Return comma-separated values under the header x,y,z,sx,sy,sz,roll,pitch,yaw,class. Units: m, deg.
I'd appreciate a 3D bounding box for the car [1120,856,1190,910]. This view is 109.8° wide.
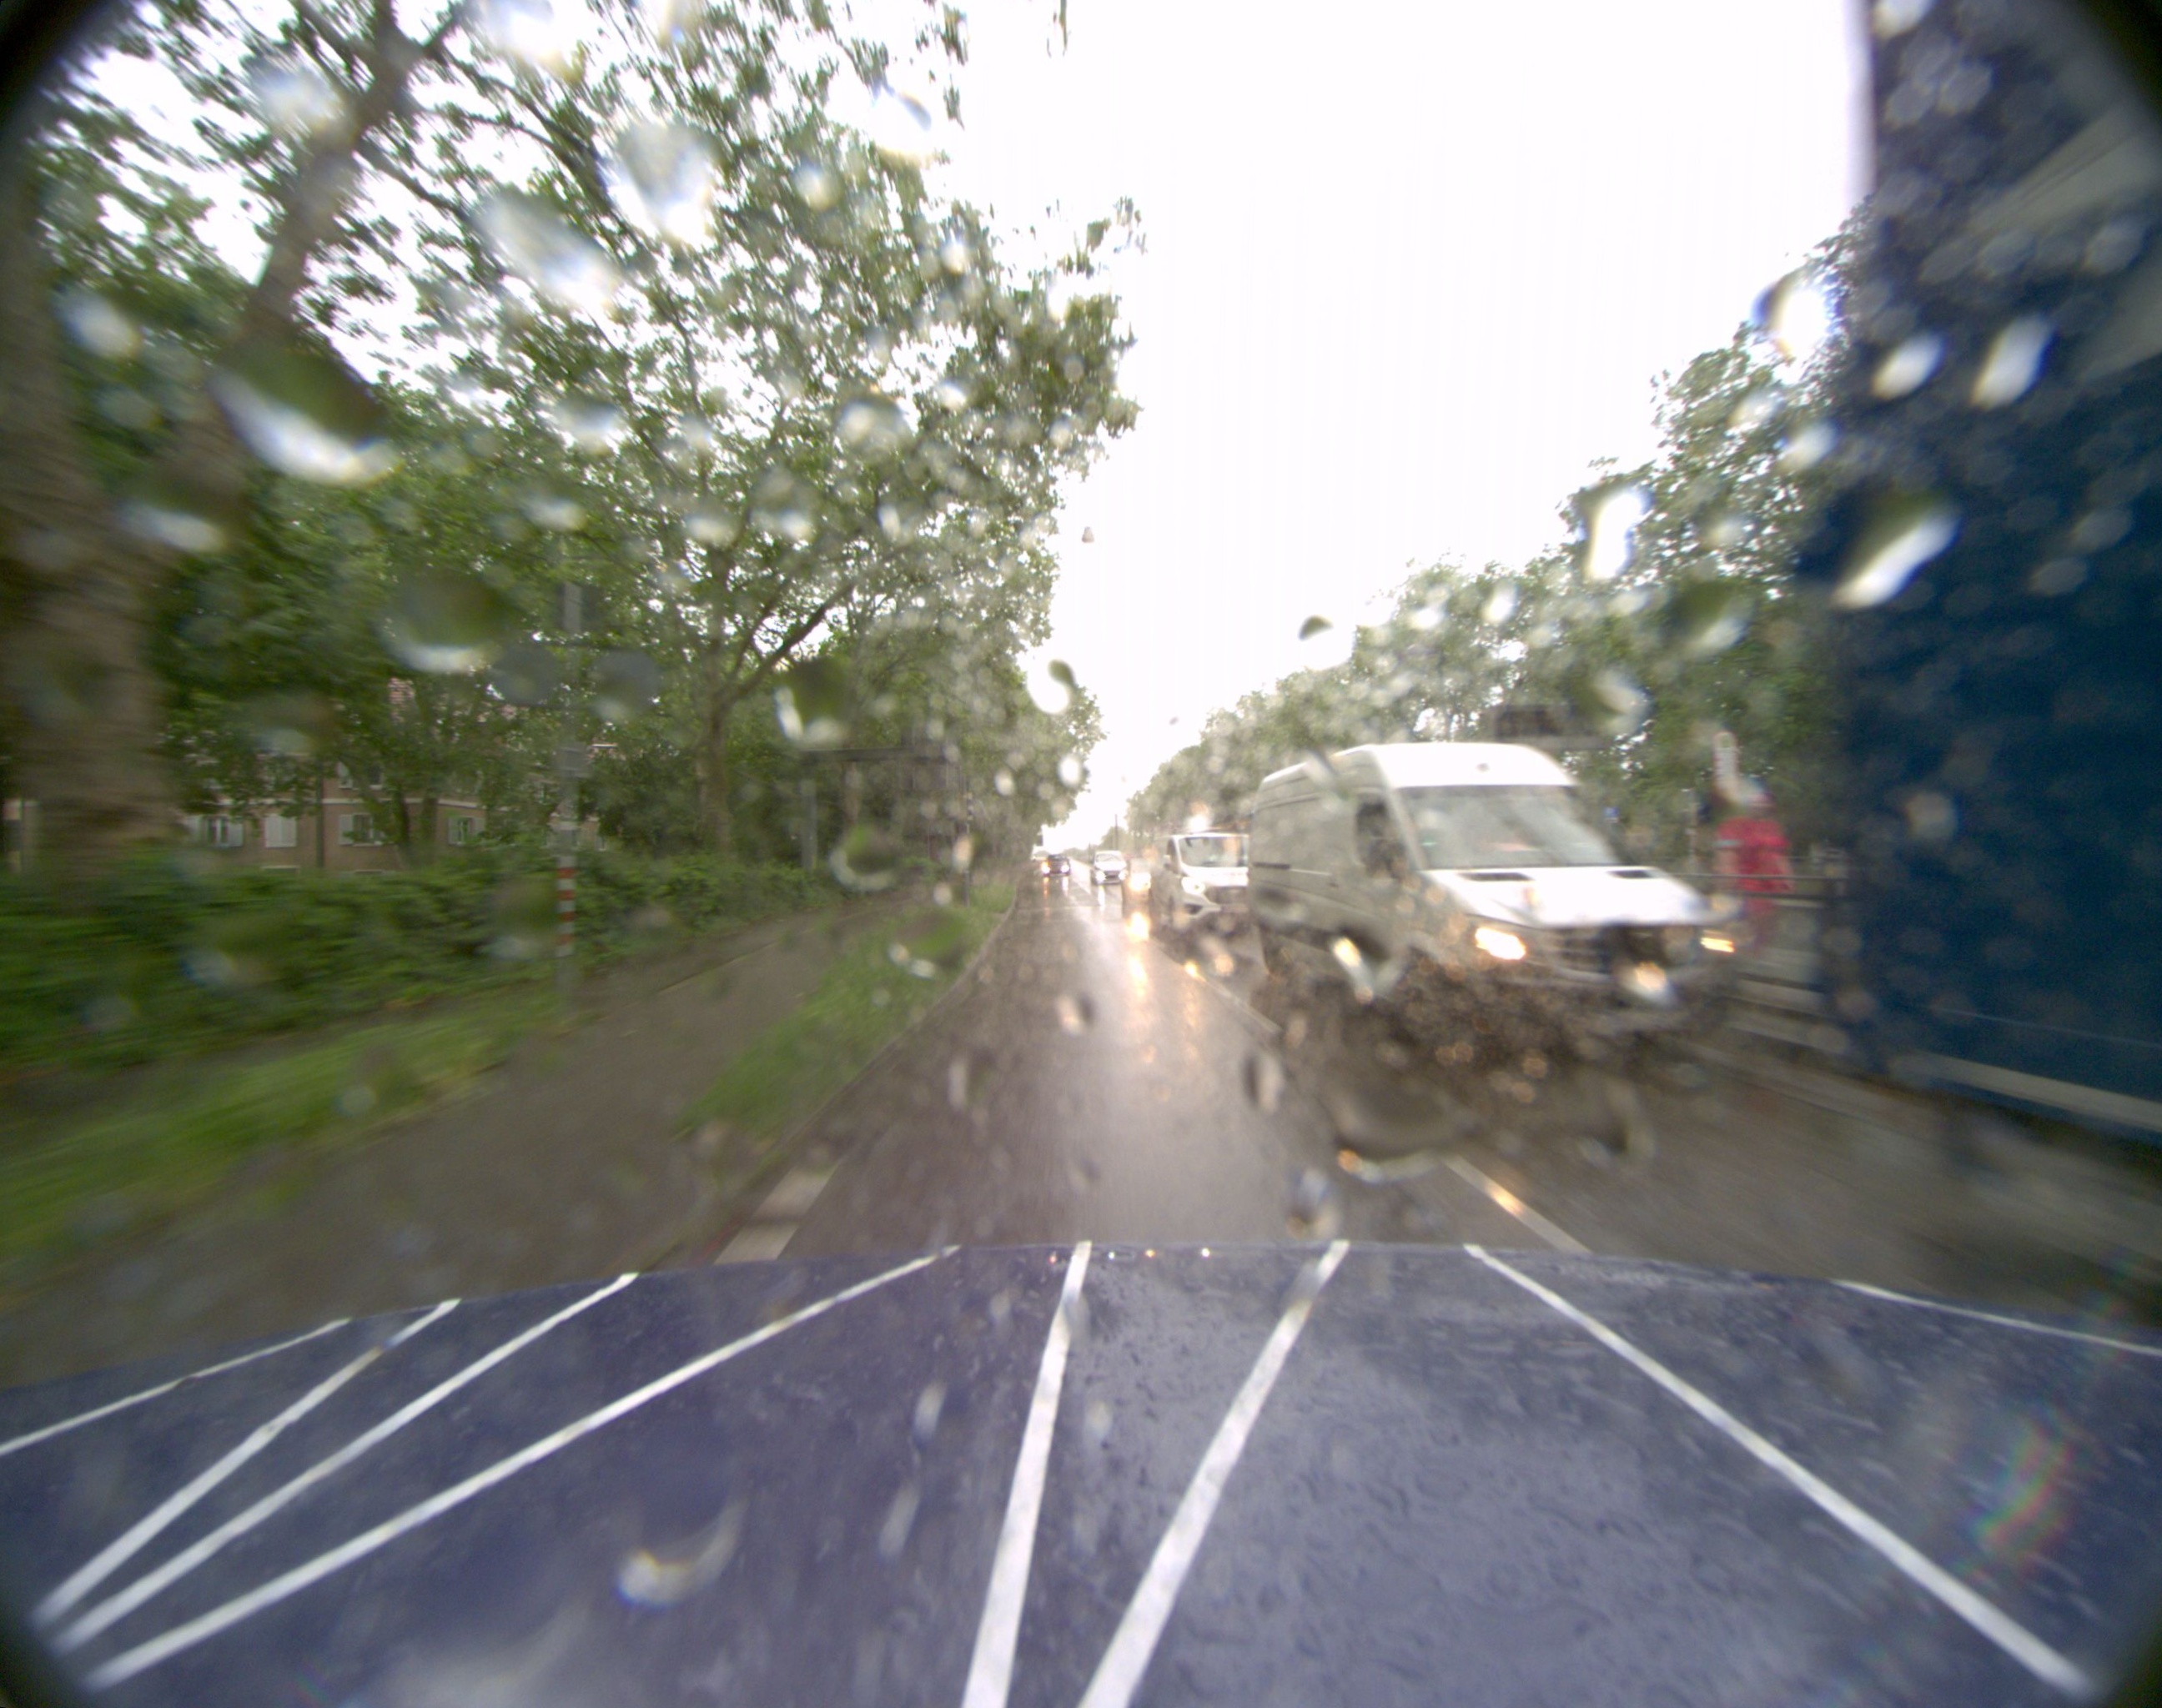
x,y,z,sx,sy,sz,roll,pitch,yaw,class
2.282,0.859,24.358,1.730,1.470,3.804,-1,1,-2,car

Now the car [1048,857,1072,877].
x,y,z,sx,sy,sz,roll,pitch,yaw,class
-1.582,0.999,58.649,1.727,1.425,3.851,-1,1,-1,car

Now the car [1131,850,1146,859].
x,y,z,sx,sy,sz,roll,pitch,yaw,class
10.503,0.094,138.489,2.038,1.648,4.274,0,1,-5,car

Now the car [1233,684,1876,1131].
x,y,z,sx,sy,sz,roll,pitch,yaw,class
3.429,0.252,7.516,2.336,2.543,6.111,-2,1,-2,car

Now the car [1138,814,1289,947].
x,y,z,sx,sy,sz,roll,pitch,yaw,class
2.531,0.413,15.969,1.999,2.249,5.286,-2,1,-2,car

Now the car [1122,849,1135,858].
x,y,z,sx,sy,sz,roll,pitch,yaw,class
9.711,-0.116,155.186,2.019,1.648,4.393,0,1,-5,car

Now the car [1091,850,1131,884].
x,y,z,sx,sy,sz,roll,pitch,yaw,class
1.492,0.624,39.278,1.869,1.614,4.262,-2,1,0,car

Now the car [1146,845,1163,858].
x,y,z,sx,sy,sz,roll,pitch,yaw,class
13.985,-0.432,145.740,2.336,2.432,6.136,0,1,-3,car

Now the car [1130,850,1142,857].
x,y,z,sx,sy,sz,roll,pitch,yaw,class
12.485,-0.143,172.689,2.039,1.543,4.382,0,1,-5,car
